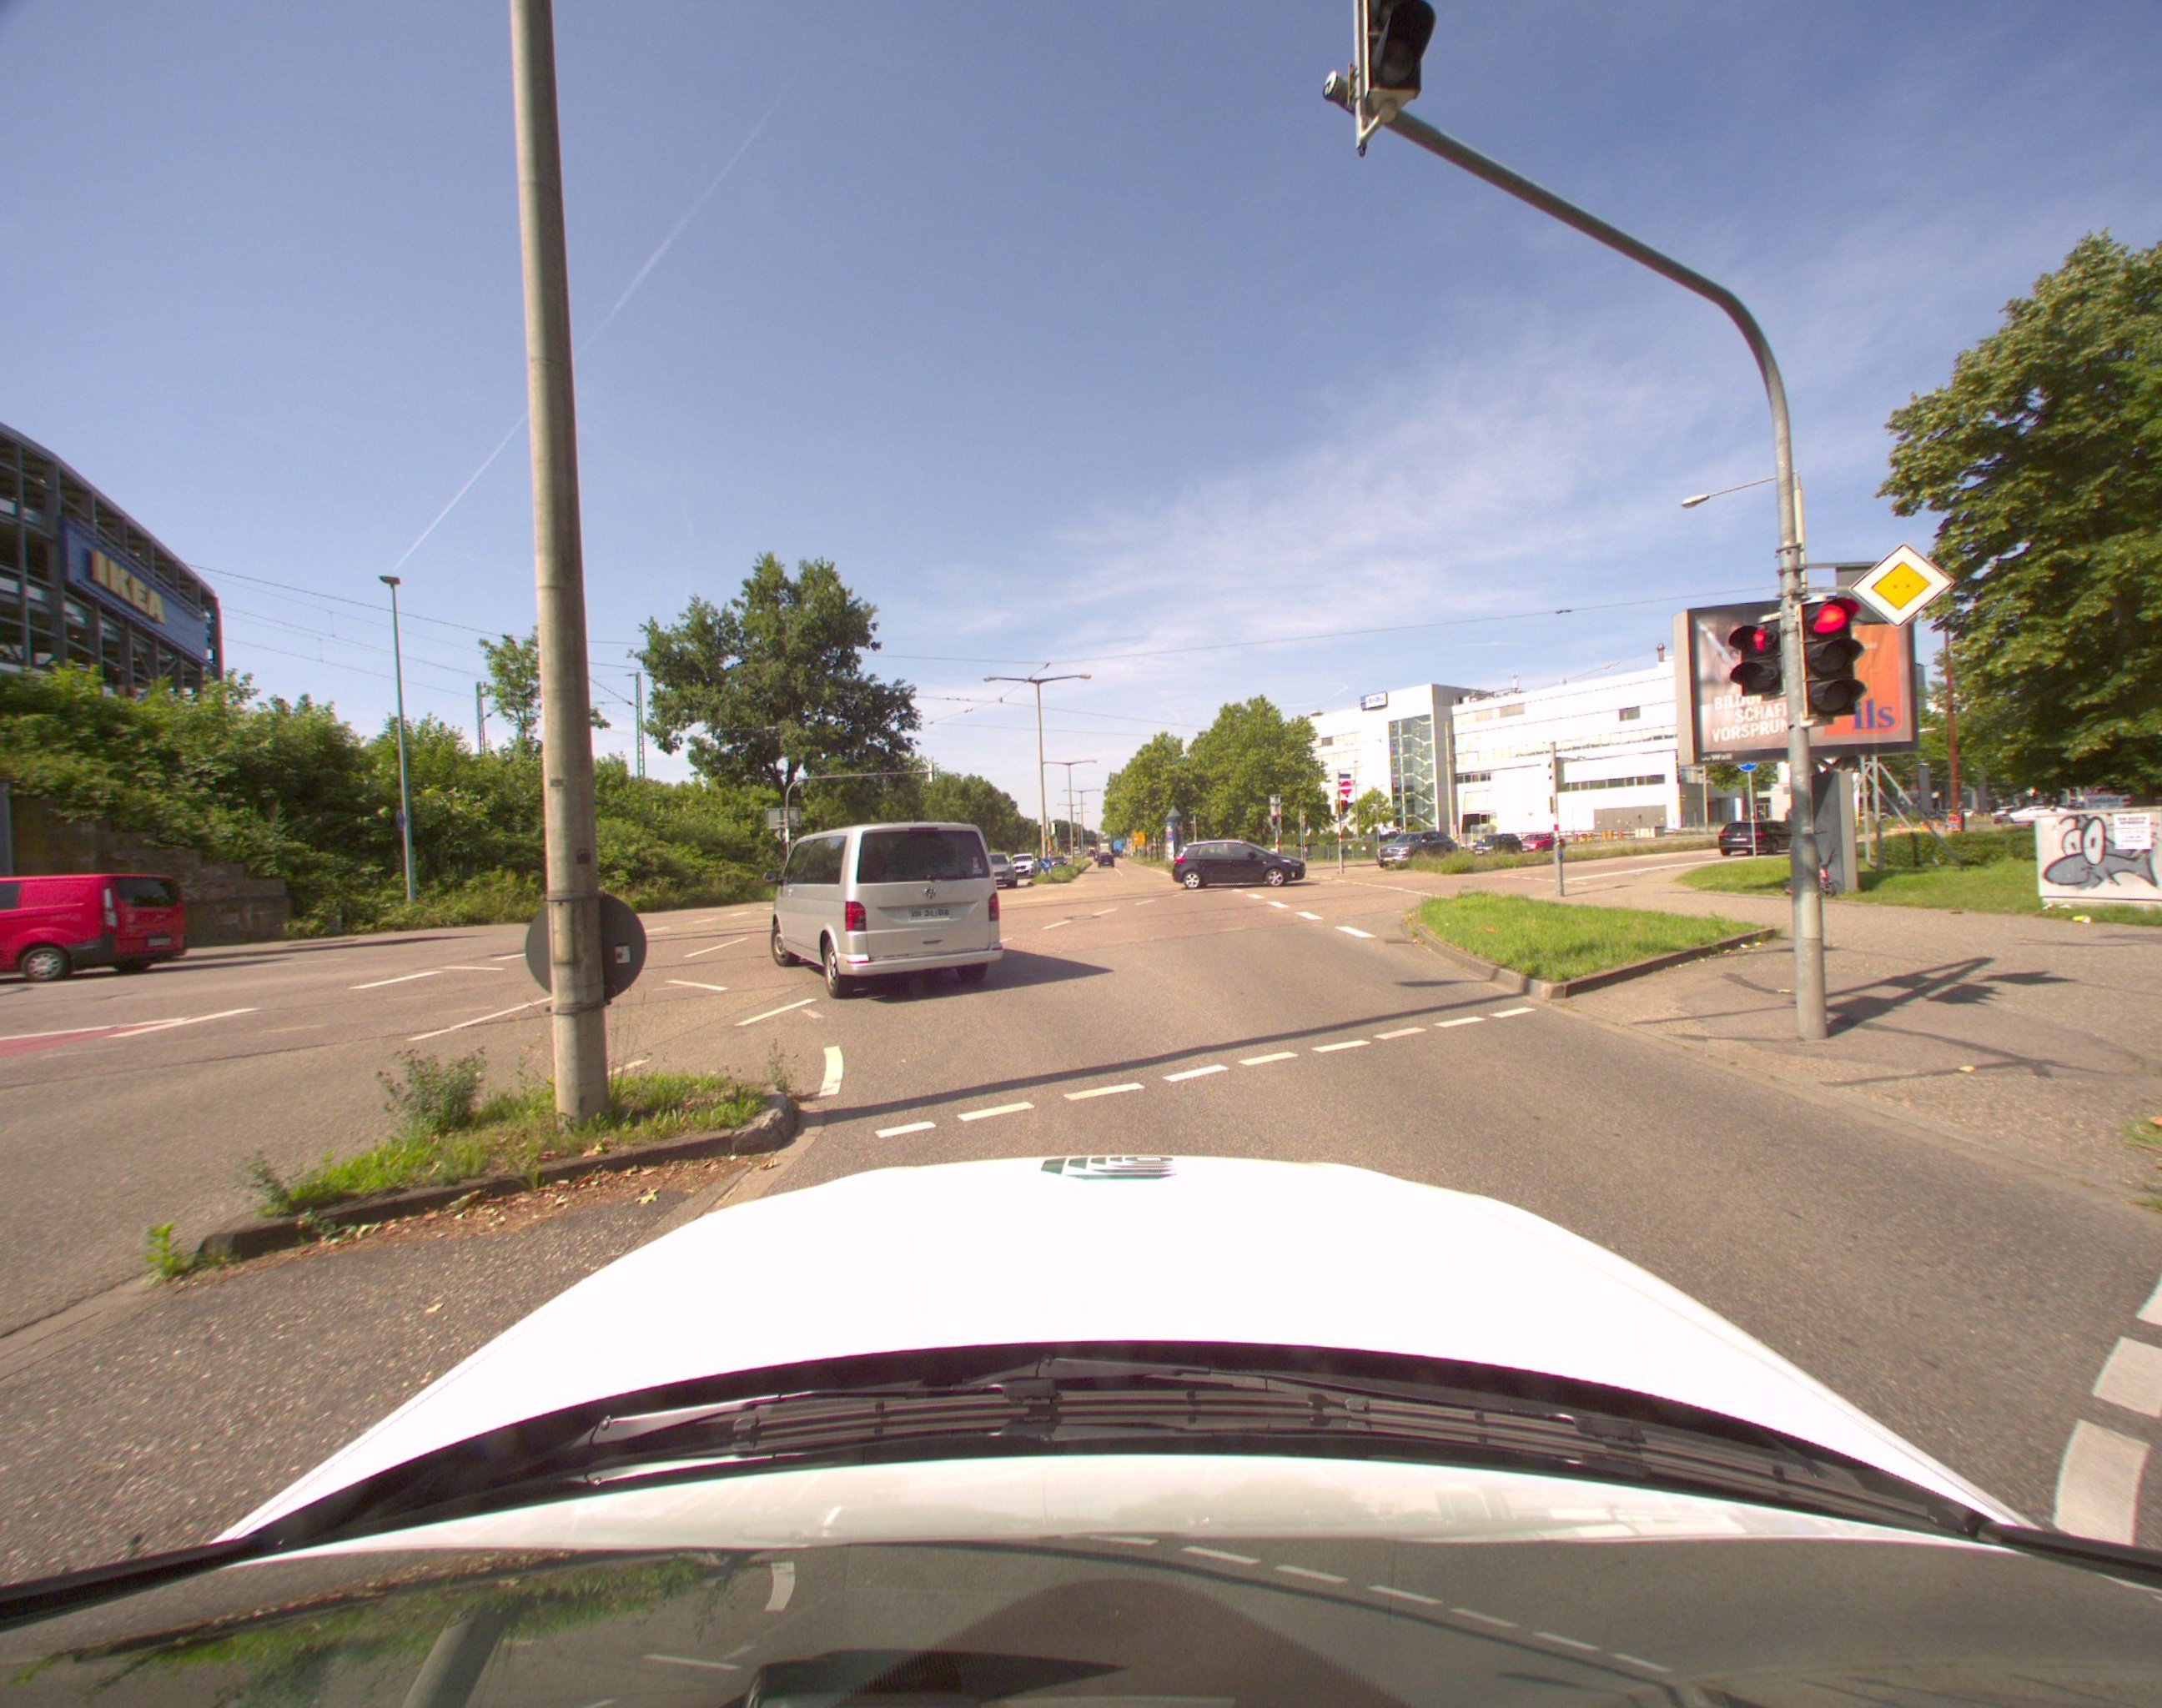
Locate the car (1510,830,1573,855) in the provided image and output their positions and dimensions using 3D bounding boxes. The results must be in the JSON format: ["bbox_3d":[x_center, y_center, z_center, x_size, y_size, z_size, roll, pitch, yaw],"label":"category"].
[{"bbox_3d":[30.553,-0.794,54.014,4.647,1.444,1.762,-3,0,-35],"label":"car"}]

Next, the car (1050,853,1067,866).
[{"bbox_3d":[-2.696,0.628,97.659,1.708,1.378,4.473,-4,0,1],"label":"car"}]

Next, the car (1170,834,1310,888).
[{"bbox_3d":[5.419,0.243,27.725,4.326,1.605,1.824,-3,0,21],"label":"car"}]

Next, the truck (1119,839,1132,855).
[{"bbox_3d":[13.246,-1.998,240.448,3.176,4.355,13.163,-3,0,4],"label":"truck"}]

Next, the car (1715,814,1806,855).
[{"bbox_3d":[28.721,-0.827,34.376,4.413,1.510,1.831,-3,0,-35],"label":"car"}]

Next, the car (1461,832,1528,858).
[{"bbox_3d":[25.850,-0.566,50.847,4.647,1.444,1.762,-3,0,-35],"label":"car"}]

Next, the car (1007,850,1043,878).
[{"bbox_3d":[-3.721,0.653,54.957,1.903,1.689,4.628,-3,0,1],"label":"car"}]

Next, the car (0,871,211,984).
[{"bbox_3d":[-20.136,1.408,15.426,4.554,1.924,1.964,-3,0,-15],"label":"car"}]

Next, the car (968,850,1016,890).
[{"bbox_3d":[-4.097,0.692,37.825,1.988,1.650,4.646,-3,0,-6],"label":"car"}]

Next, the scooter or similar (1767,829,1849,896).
[{"bbox_3d":[13.027,0.144,14.623,0.423,1.126,1.124,-3,0,0],"label":"scooter or similar"}]

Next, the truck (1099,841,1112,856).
[{"bbox_3d":[6.148,-1.345,202.392,2.828,3.577,8.730,-3,0,4],"label":"truck"}]

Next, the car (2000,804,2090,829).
[{"bbox_3d":[78.460,-3.061,66.347,1.924,1.689,4.576,-3,0,-35],"label":"car"}]

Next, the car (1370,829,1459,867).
[{"bbox_3d":[16.827,-0.332,41.006,4.647,1.689,1.895,-3,0,-35],"label":"car"}]

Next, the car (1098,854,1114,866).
[{"bbox_3d":[2.718,0.616,87.627,1.637,1.236,3.254,-3,0,2],"label":"car"}]

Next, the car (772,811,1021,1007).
[{"bbox_3d":[-2.739,0.575,10.907,1.953,1.971,4.975,-2,0,-28],"label":"car"}]

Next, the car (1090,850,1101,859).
[{"bbox_3d":[2.538,0.078,137.932,1.742,1.344,4.380,-3,0,2],"label":"car"}]
